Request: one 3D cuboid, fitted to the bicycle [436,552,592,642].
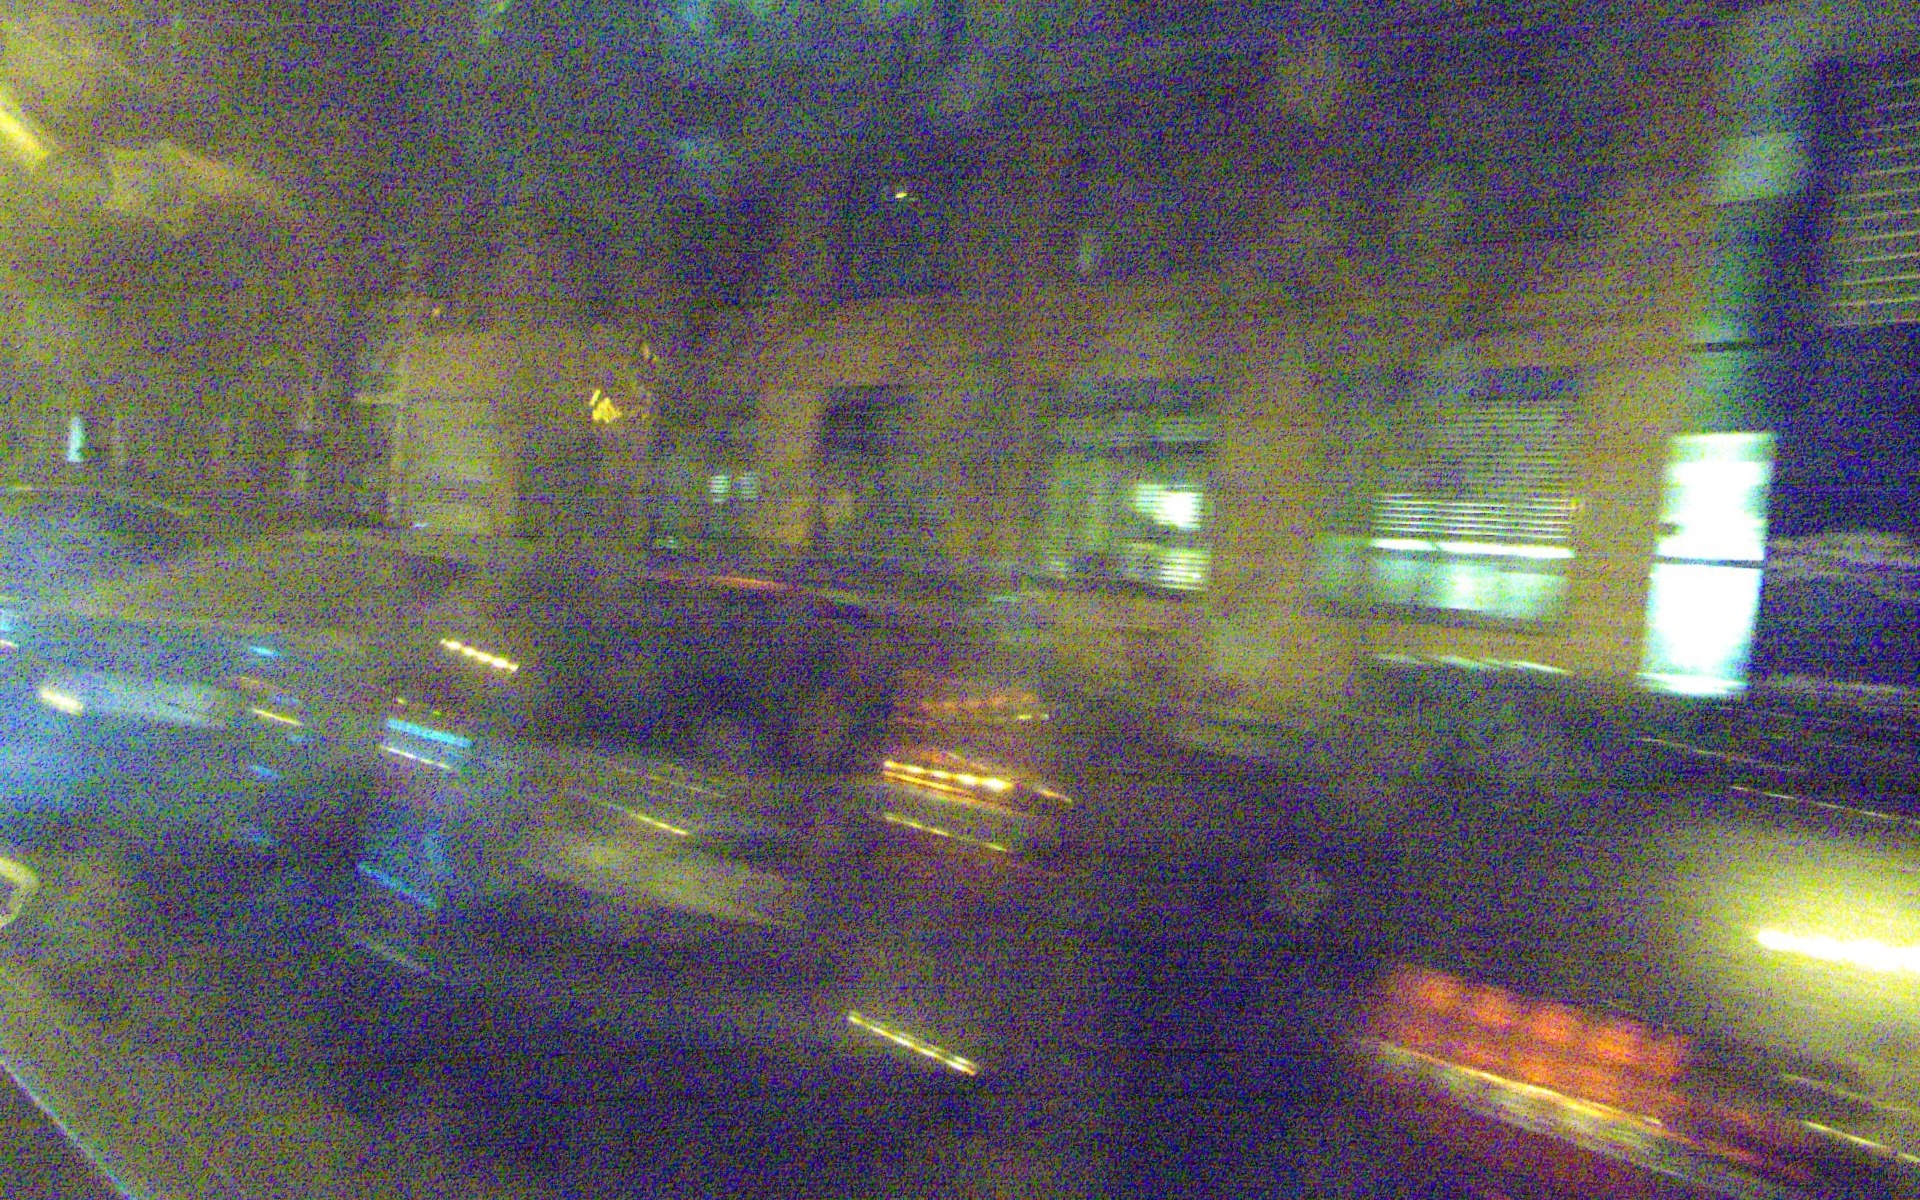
[{"bbox_3d":[-5.792,-0.041,13.196,0.501,1.069,1.973,6,3,25],"label":"bicycle"}]

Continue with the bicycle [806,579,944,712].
[{"bbox_3d":[-0.802,0.407,9.955,0.532,1.162,1.687,6,4,24],"label":"bicycle"}]

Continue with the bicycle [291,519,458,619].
[{"bbox_3d":[-8.644,-0.426,14.927,0.771,1.353,1.967,7,4,38],"label":"bicycle"}]

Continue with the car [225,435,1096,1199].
[{"bbox_3d":[-0.480,0.590,3.931,1.680,1.630,3.568,6,-1,10],"label":"car"}]

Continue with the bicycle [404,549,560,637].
[{"bbox_3d":[-6.353,-0.091,13.489,0.501,1.069,1.973,6,3,25],"label":"bicycle"}]

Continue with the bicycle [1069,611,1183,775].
[{"bbox_3d":[1.415,0.703,8.348,0.421,1.162,1.687,6,4,24],"label":"bicycle"}]

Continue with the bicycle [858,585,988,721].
[{"bbox_3d":[-0.313,0.458,9.694,0.477,1.162,1.687,6,4,24],"label":"bicycle"}]

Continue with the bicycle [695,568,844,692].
[{"bbox_3d":[-1.989,0.280,10.728,0.653,1.162,1.687,6,4,24],"label":"bicycle"}]

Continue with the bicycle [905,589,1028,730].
[{"bbox_3d":[0.101,0.498,9.366,0.421,1.162,1.687,6,4,24],"label":"bicycle"}]

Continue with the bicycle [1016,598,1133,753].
[{"bbox_3d":[1.021,0.590,8.656,0.421,1.162,1.687,6,4,24],"label":"bicycle"}]

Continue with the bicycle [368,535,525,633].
[{"bbox_3d":[-6.949,-0.209,13.734,0.501,1.207,1.973,6,3,25],"label":"bicycle"}]

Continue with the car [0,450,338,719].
[{"bbox_3d":[-7.174,-0.173,8.310,1.710,1.749,3.802,6,-1,-3],"label":"car"}]

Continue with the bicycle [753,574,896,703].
[{"bbox_3d":[-1.351,0.353,10.339,0.586,1.162,1.687,6,4,24],"label":"bicycle"}]

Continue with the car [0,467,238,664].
[{"bbox_3d":[-9.394,-0.384,9.947,1.685,1.749,3.774,6,-1,-1],"label":"car"}]

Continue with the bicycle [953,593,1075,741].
[{"bbox_3d":[0.523,0.537,8.975,0.421,1.162,1.687,6,4,24],"label":"bicycle"}]

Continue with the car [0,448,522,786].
[{"bbox_3d":[-5.010,0.063,7.145,1.810,1.630,4.063,6,-1,1],"label":"car"}]

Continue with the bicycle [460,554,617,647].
[{"bbox_3d":[-5.331,0.004,12.865,0.501,1.069,1.973,6,3,25],"label":"bicycle"}]

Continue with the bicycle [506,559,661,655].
[{"bbox_3d":[-4.645,0.077,12.576,0.501,1.069,1.973,6,3,25],"label":"bicycle"}]

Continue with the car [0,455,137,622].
[{"bbox_3d":[-11.686,-0.751,11.185,1.685,1.884,4.241,4,2,-3],"label":"car"}]

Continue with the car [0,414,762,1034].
[{"bbox_3d":[-2.579,0.397,5.214,1.823,1.786,4.109,6,-1,5],"label":"car"}]

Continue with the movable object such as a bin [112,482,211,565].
[{"bbox_3d":[-15.113,-1.434,19.065,0.982,1.472,1.207,6,5,32],"label":"movable object such as a bin"}]

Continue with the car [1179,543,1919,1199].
[{"bbox_3d":[1.443,0.854,2.530,1.476,1.571,3.051,6,-1,10],"label":"car"}]

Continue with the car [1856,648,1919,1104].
[{"bbox_3d":[3.934,1.042,1.727,1.625,1.543,3.710,5,2,7],"label":"car"}]

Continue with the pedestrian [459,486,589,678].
[{"bbox_3d":[-4.499,-0.208,10.396,0.931,1.862,0.838,5,5,28],"label":"pedestrian"}]

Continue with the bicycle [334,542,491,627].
[{"bbox_3d":[-7.551,-0.201,13.980,0.501,1.069,1.973,6,3,25],"label":"bicycle"}]
